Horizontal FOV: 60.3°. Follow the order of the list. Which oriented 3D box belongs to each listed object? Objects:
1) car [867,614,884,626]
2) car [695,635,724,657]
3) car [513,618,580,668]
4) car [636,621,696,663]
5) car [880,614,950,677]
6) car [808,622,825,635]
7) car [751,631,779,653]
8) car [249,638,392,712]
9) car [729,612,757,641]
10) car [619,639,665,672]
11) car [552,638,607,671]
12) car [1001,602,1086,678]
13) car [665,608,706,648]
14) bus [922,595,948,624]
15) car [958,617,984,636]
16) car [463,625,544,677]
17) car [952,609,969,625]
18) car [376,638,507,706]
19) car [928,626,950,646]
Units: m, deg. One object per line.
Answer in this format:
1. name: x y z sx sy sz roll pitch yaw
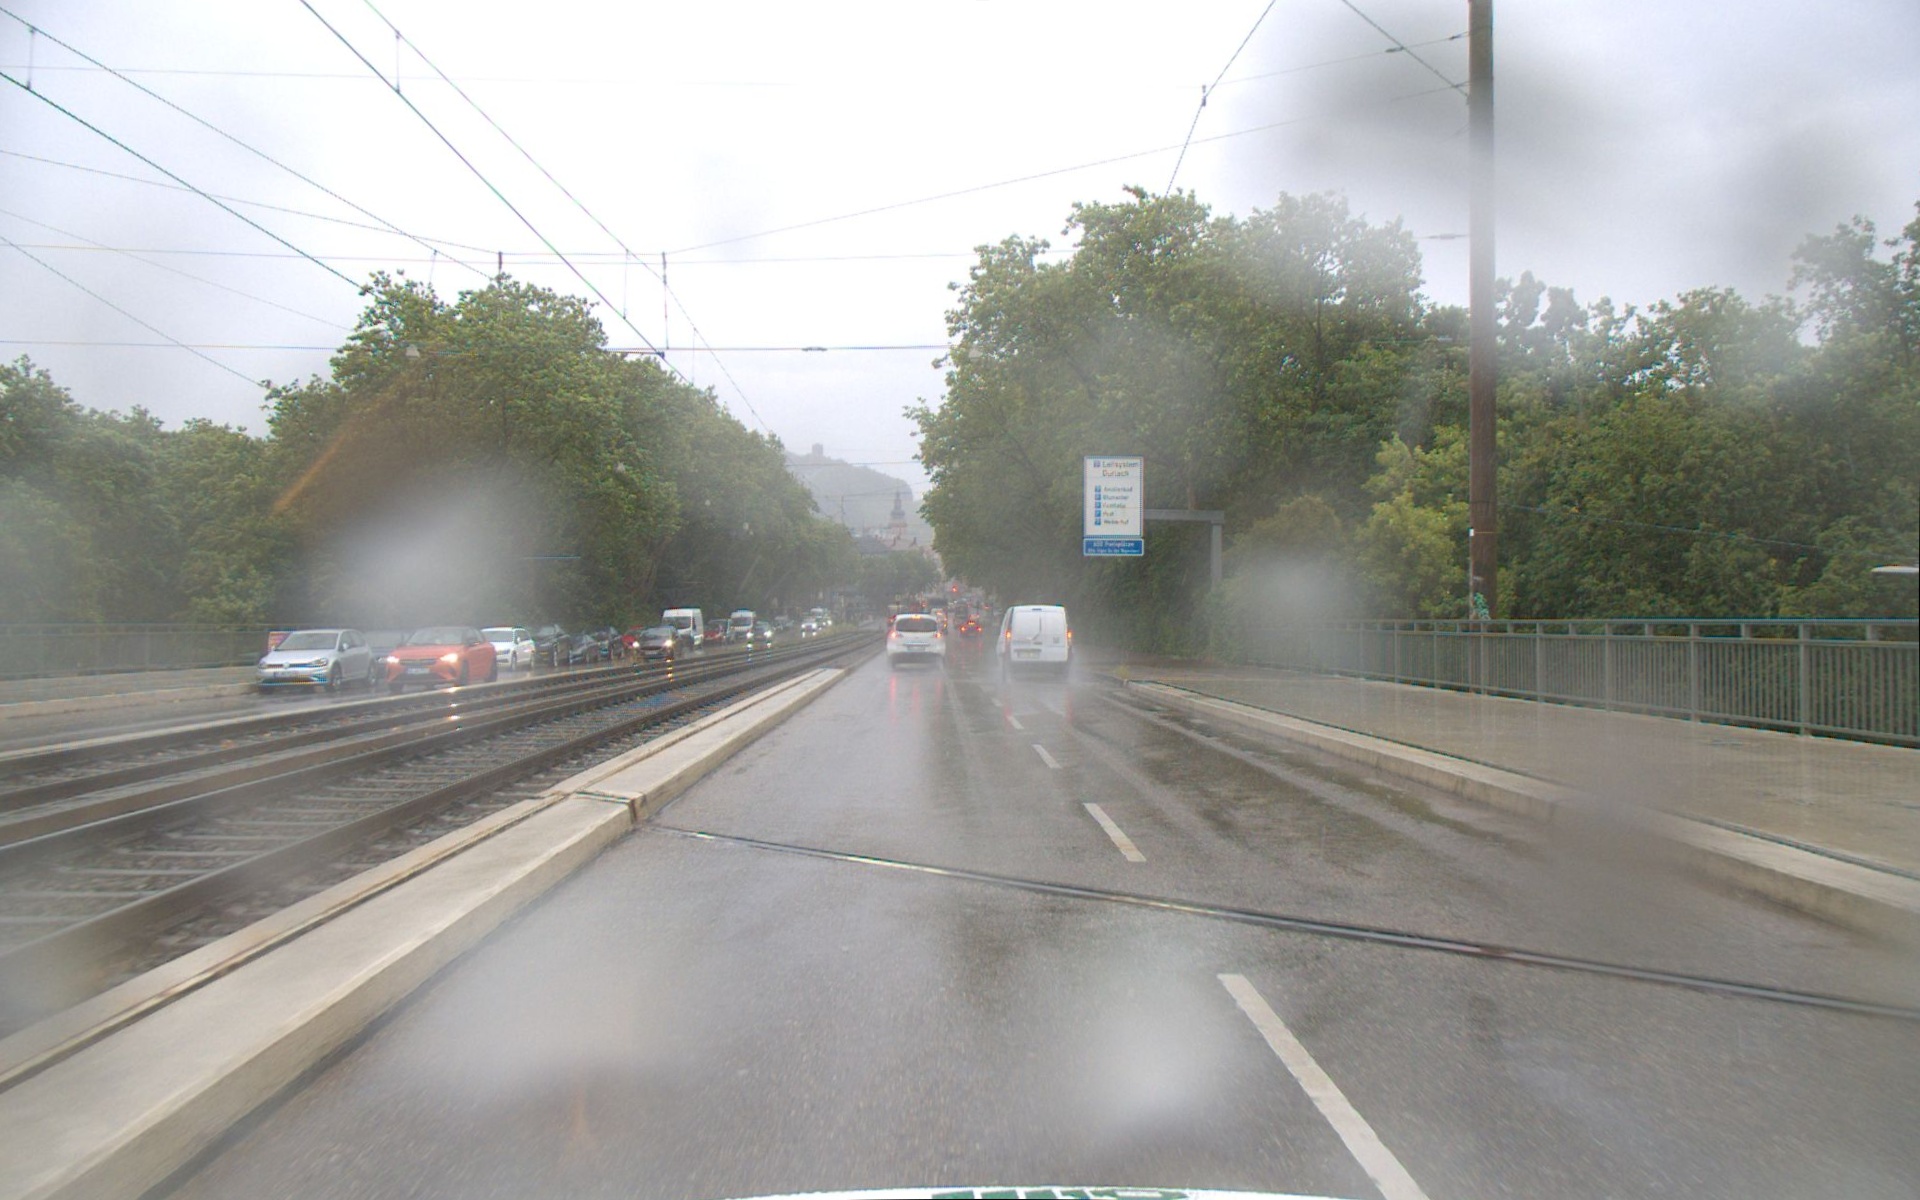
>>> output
1. car: -11.113 2.676 218.282 1.767 1.373 4.266 -2 0 4
2. car: -17.646 3.235 116.503 1.475 1.373 4.026 -2 0 -1
3. car: -15.661 1.598 62.882 1.476 1.701 4.831 -2 0 -2
4. car: -12.232 1.735 69.051 1.779 1.392 4.265 1 3 -1
5. car: -1.347 1.356 50.840 1.952 1.747 4.000 1 0 1
6. car: -17.040 3.360 196.508 1.768 1.373 4.263 -2 0 -1
7. car: -14.509 3.102 123.111 1.475 1.425 4.706 -2 0 -1
8. car: -15.283 1.746 39.751 1.826 1.481 4.318 -2 0 -2
9. car: -17.955 2.168 137.092 1.764 2.260 4.276 -2 0 -1
10. car: -16.389 2.849 85.325 1.577 1.467 4.261 -2 0 -1
11. car: -15.779 2.247 68.728 1.475 1.193 3.711 -2 0 -1
12. car: 2.044 0.955 41.359 1.952 1.756 4.000 1 0 1
13. car: -16.805 1.694 101.438 1.706 2.207 5.811 -2 0 -3
14. bus: -3.600 1.338 240.509 3.320 3.903 9.739 1 0 1
15. car: 0.878 2.057 130.275 1.952 1.344 4.000 1 0 1
16. car: -15.487 1.695 56.329 1.476 1.425 4.891 -6 1 -2
17. car: 0.071 2.075 204.616 1.952 1.858 4.000 1 0 1
18. car: -11.909 1.628 38.227 1.763 1.339 4.083 1 0 -1
19. car: -2.071 3.567 163.377 1.952 1.858 4.000 1 0 1
